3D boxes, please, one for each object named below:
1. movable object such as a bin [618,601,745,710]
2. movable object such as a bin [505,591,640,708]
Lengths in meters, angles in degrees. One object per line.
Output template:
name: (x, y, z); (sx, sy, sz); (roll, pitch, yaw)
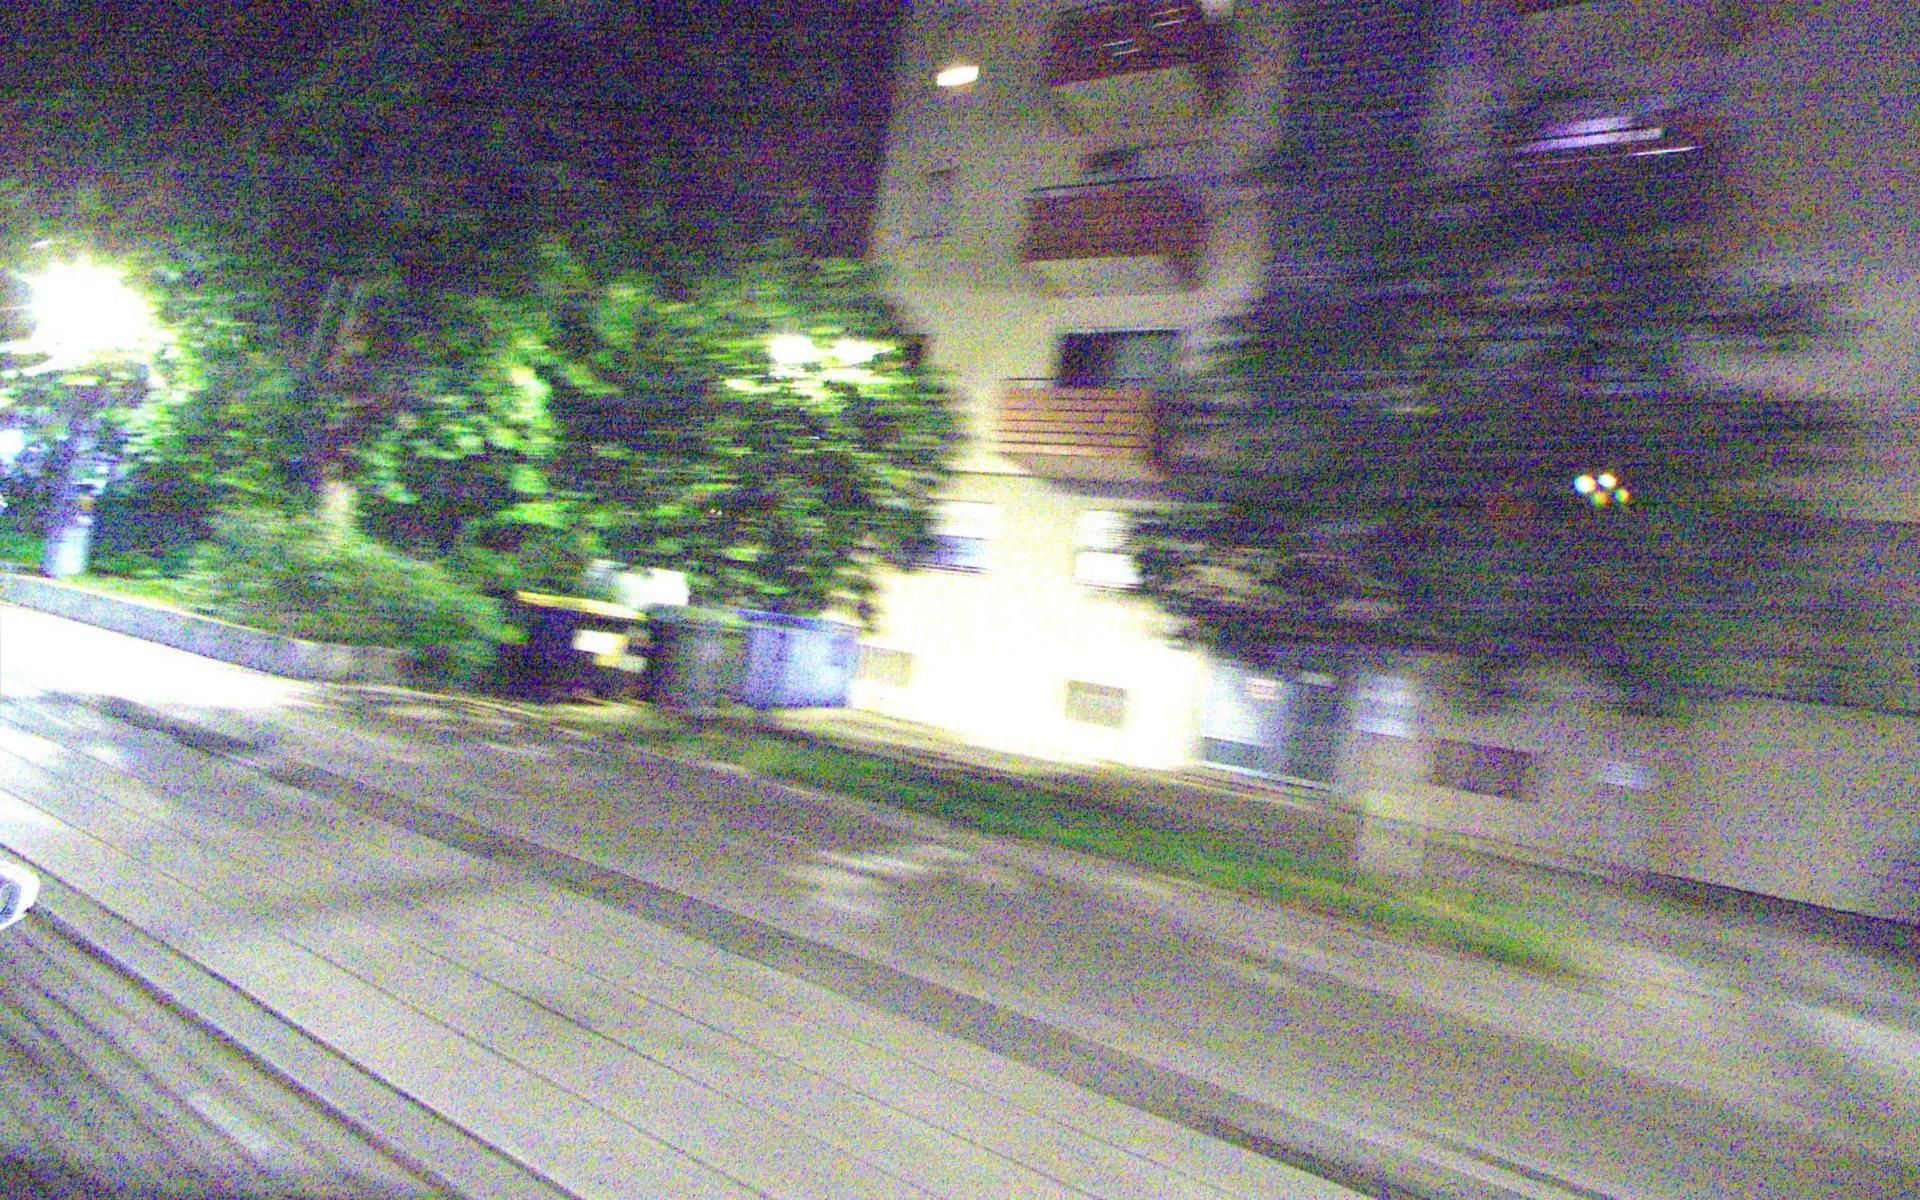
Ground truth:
movable object such as a bin: (-4.126, 0.835, 14.975); (1.099, 1.436, 1.264); (6, -2, 30)
movable object such as a bin: (-5.036, 0.660, 13.121); (0.993, 1.321, 1.108); (7, -3, 28)
